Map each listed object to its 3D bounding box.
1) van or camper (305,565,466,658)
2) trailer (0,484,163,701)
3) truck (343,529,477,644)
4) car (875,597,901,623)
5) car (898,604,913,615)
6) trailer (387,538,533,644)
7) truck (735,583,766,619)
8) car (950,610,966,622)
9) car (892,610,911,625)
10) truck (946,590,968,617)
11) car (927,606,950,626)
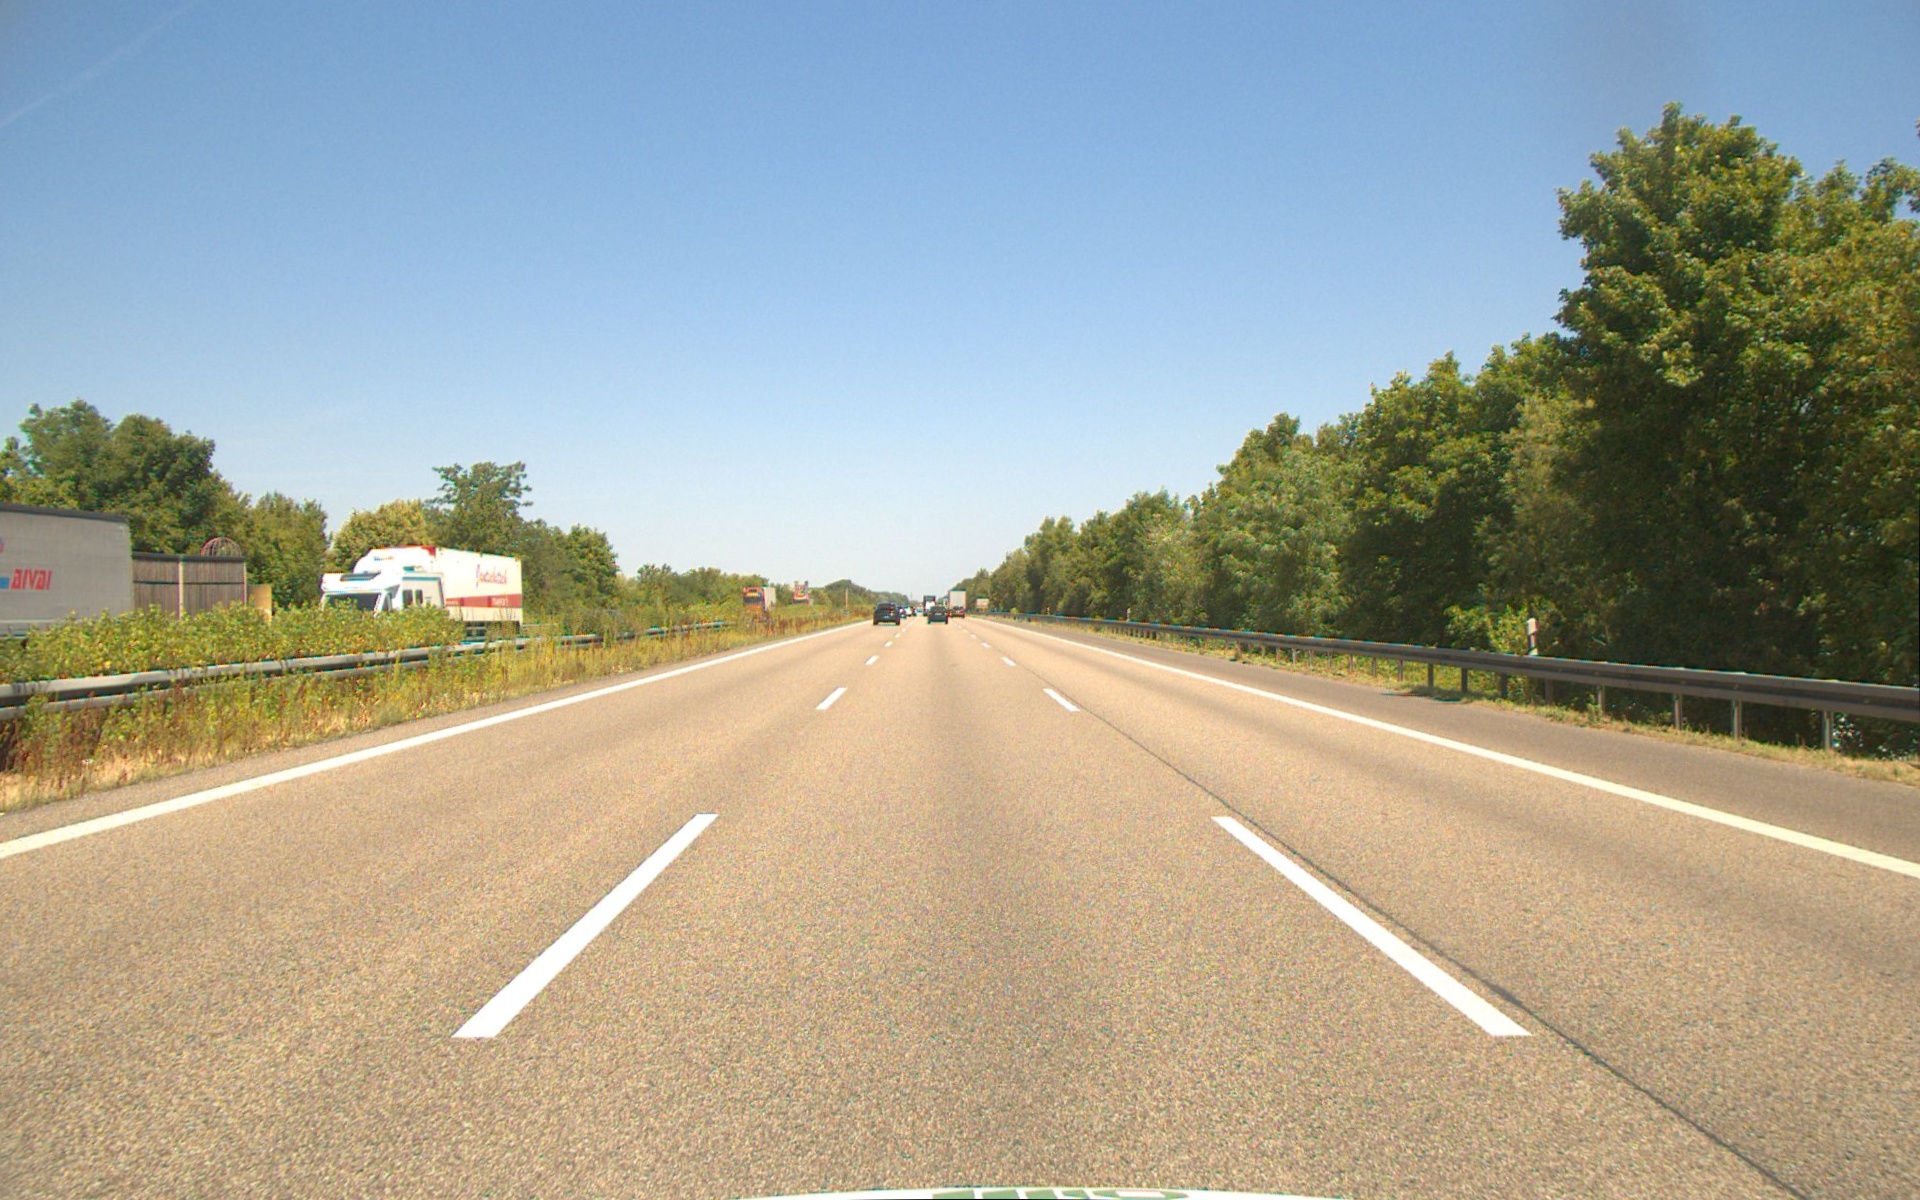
[{"bbox_3d":[-17.457,0.345,50.811,2.415,2.622,7.409,0,0,-1],"label":"van or camper"},{"bbox_3d":[-21.747,-0.161,35.519,3.102,4.556,12.950,0,0,-1],"label":"trailer"},{"bbox_3d":[-21.658,-0.512,65.589,2.784,4.280,7.713,0,0,-1],"label":"truck"},{"bbox_3d":[-5.330,0.740,122.775,1.842,1.823,3.998,0,1,-2],"label":"car"},{"bbox_3d":[-8.079,1.406,246.464,2.085,1.674,4.303,-1,0,-1],"label":"car"},{"bbox_3d":[-21.713,-0.378,72.695,2.784,4.246,12.219,0,0,-1],"label":"trailer"},{"bbox_3d":[-24.616,0.107,194.865,2.677,4.004,7.414,-2,0,-1],"label":"truck"},{"bbox_3d":[-0.301,2.200,223.458,2.085,1.611,4.303,-1,0,-1],"label":"car"},{"bbox_3d":[-6.713,1.994,189.772,2.085,1.674,4.303,-1,0,-1],"label":"car"},{"bbox_3d":[-0.453,0.605,255.454,3.316,4.040,9.535,-1,0,-1],"label":"truck"},{"bbox_3d":[-1.736,1.303,134.933,1.864,1.611,4.303,-1,0,-1],"label":"car"}]
